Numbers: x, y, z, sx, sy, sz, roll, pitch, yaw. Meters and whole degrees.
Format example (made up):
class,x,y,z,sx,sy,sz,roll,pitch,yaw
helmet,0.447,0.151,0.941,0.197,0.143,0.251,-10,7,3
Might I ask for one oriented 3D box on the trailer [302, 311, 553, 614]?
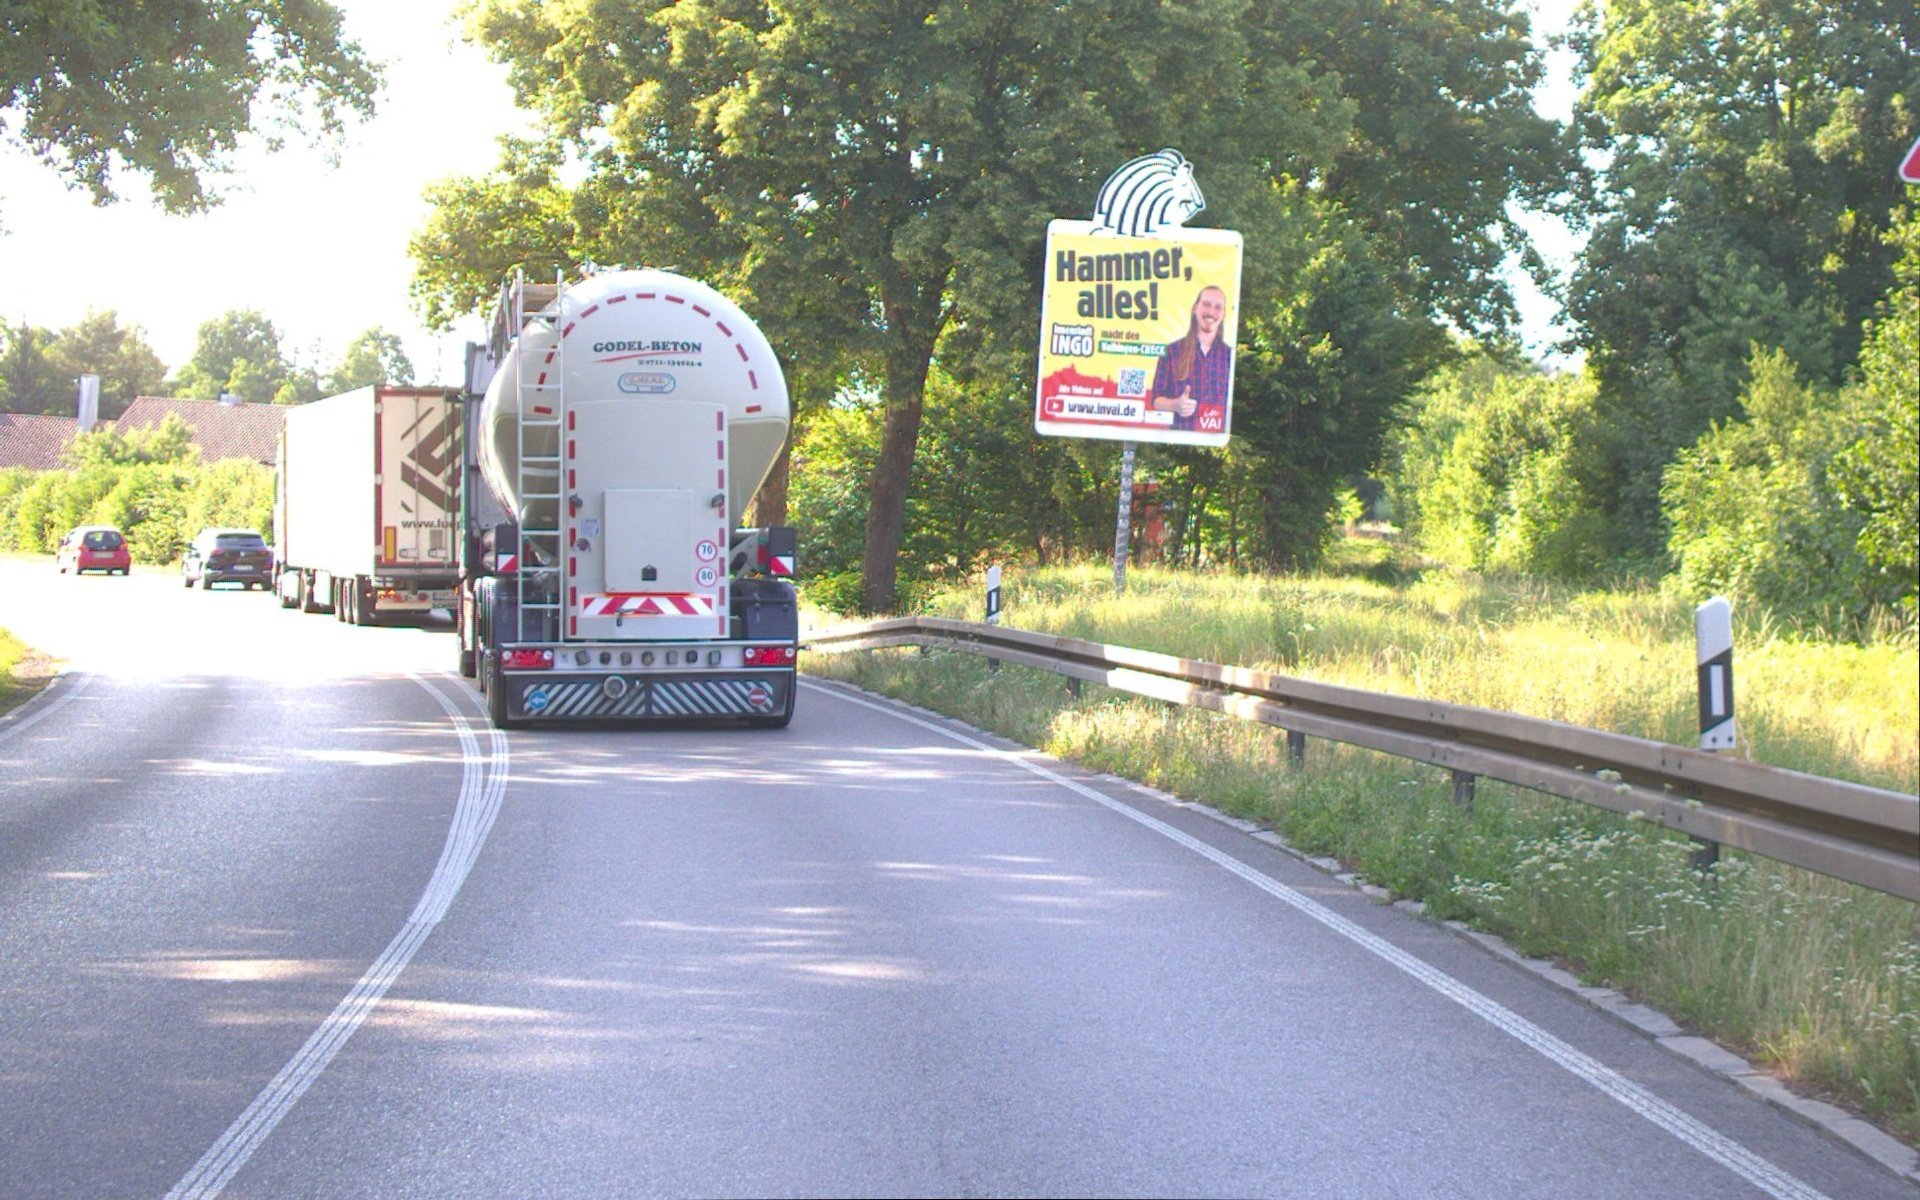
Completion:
class,x,y,z,sx,sy,sz,roll,pitch,yaw
trailer,-9.573,-2.284,60.764,2.963,4.865,10.291,1,1,-17

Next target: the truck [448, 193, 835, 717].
class,x,y,z,sx,sy,sz,roll,pitch,yaw
truck,-3.412,-1.221,33.430,2.975,4.161,11.665,1,1,-9

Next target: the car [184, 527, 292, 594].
class,x,y,z,sx,sy,sz,roll,pitch,yaw
car,-18.509,-1.009,88.047,1.993,1.650,4.001,1,1,-22

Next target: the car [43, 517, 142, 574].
class,x,y,z,sx,sy,sz,roll,pitch,yaw
car,-26.371,-1.646,104.385,2.299,1.650,4.416,1,1,-22

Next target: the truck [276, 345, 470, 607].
class,x,y,z,sx,sy,sz,roll,pitch,yaw
truck,-11.658,-2.358,67.871,2.962,4.869,6.432,1,1,-17
